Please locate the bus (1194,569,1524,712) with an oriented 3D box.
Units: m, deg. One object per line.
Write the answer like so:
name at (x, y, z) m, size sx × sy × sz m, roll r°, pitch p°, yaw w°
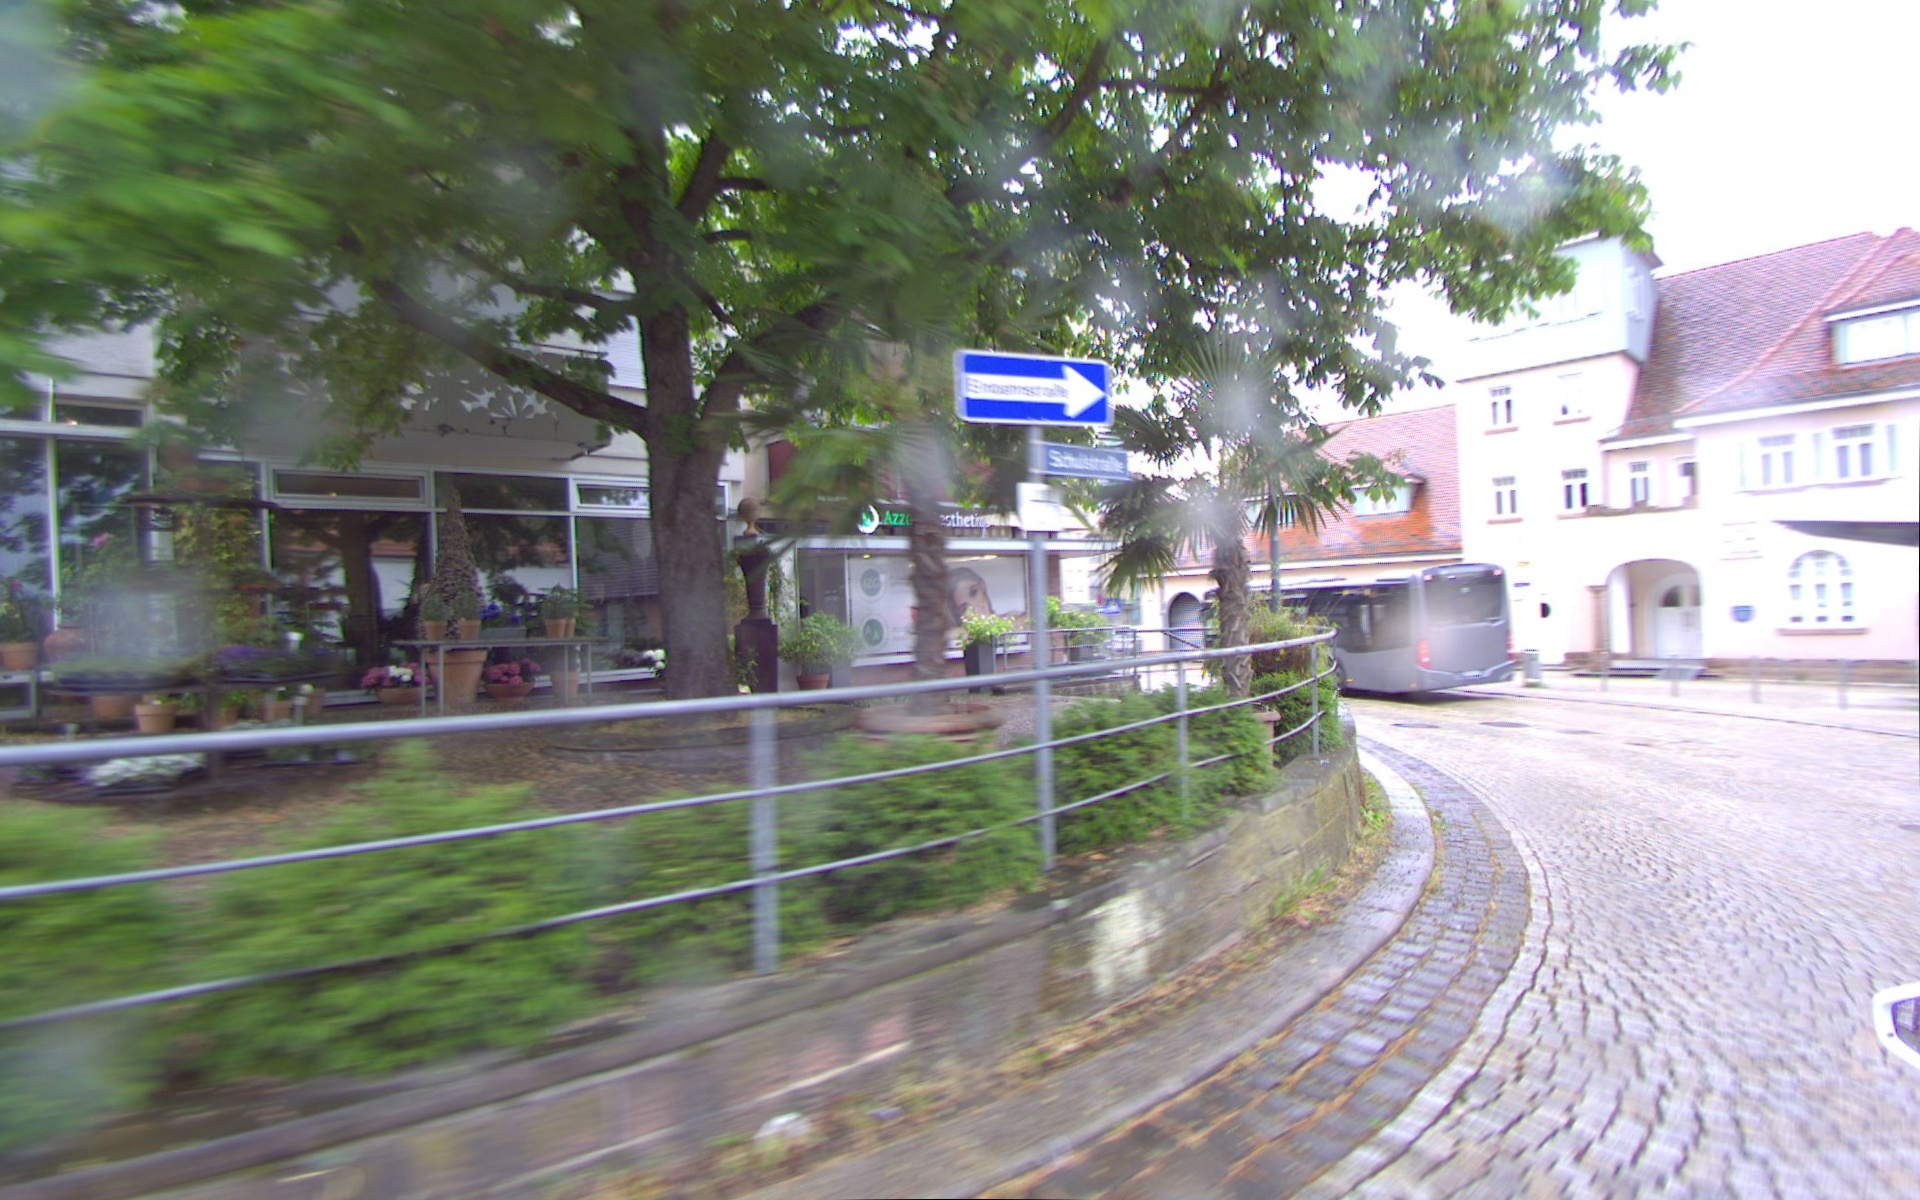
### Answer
bus at (10.072, 1.051, 27.363) m, size 2.741 × 3.029 × 10.531 m, roll -2°, pitch -1°, yaw -13°
